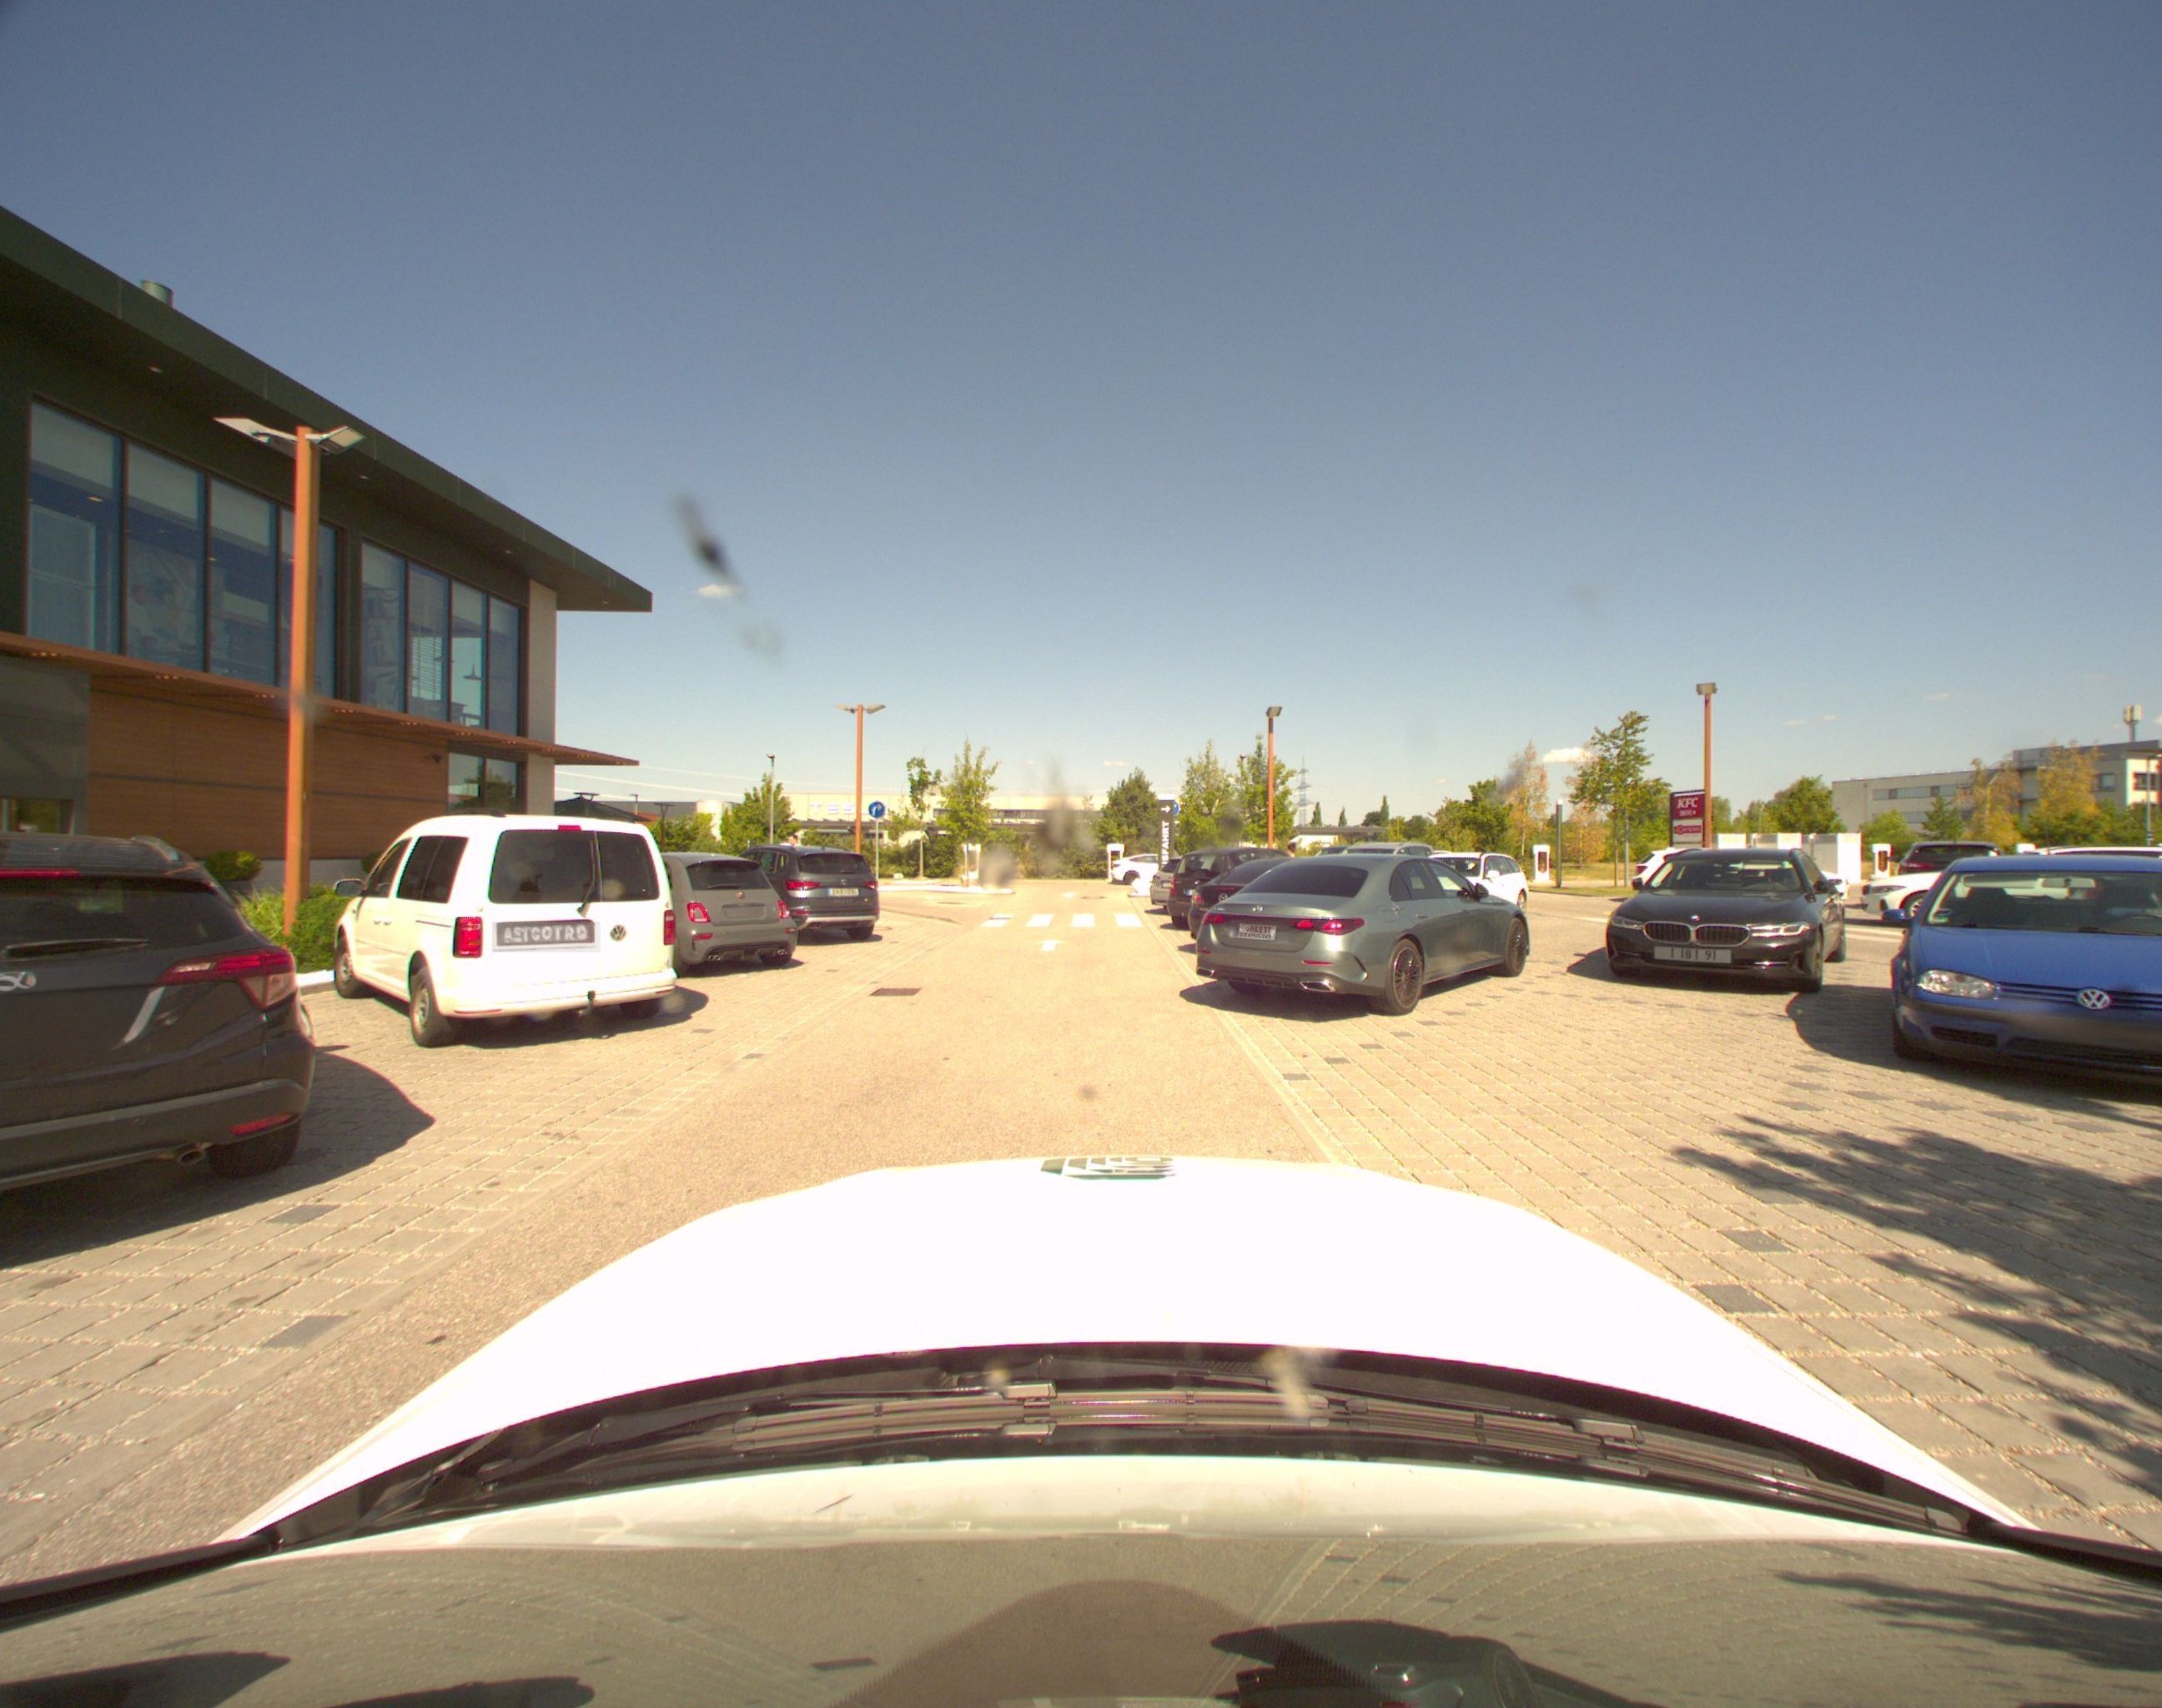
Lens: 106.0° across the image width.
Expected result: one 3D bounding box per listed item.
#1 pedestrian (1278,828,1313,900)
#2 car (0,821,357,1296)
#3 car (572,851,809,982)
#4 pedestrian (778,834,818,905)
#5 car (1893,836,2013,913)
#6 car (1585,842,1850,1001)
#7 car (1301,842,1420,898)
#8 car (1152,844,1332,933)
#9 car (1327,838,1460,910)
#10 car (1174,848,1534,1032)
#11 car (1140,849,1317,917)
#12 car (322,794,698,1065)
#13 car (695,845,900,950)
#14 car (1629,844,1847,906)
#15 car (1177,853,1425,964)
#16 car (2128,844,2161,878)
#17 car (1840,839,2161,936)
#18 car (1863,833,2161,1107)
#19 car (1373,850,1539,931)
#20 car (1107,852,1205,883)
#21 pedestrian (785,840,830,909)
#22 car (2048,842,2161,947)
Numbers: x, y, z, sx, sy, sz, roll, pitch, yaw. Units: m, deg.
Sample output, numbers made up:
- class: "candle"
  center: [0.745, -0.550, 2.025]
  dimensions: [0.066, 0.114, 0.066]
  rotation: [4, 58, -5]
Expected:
- class: "pedestrian"
  center: [5.218, 0.244, 19.806]
  dimensions: [0.566, 1.713, 0.604]
  rotation: [0, 0, -37]
- class: "car"
  center: [-5.304, 0.662, 3.865]
  dimensions: [3.795, 1.632, 1.769]
  rotation: [2, 1, 32]
- class: "car"
  center: [-5.338, 0.715, 11.001]
  dimensions: [3.371, 1.482, 1.578]
  rotation: [0, 0, 38]
- class: "pedestrian"
  center: [-7.227, 0.373, 20.812]
  dimensions: [0.800, 1.768, 0.894]
  rotation: [0, 0, -8]
- class: "car"
  center: [19.930, 0.425, 18.699]
  dimensions: [4.110, 1.576, 1.736]
  rotation: [0, 0, -44]
- class: "car"
  center: [7.951, 0.640, 9.996]
  dimensions: [4.442, 1.511, 1.959]
  rotation: [0, 0, -44]
- class: "car"
  center: [8.590, 0.414, 24.829]
  dimensions: [1.872, 1.536, 4.216]
  rotation: [0, 1, 43]
- class: "car"
  center: [3.398, 0.619, 16.687]
  dimensions: [1.789, 1.593, 4.024]
  rotation: [0, 0, 42]
- class: "car"
  center: [8.040, 0.447, 20.755]
  dimensions: [1.726, 1.640, 4.091]
  rotation: [0, 0, 44]
- class: "car"
  center: [3.206, 0.704, 8.961]
  dimensions: [4.568, 1.511, 1.864]
  rotation: [0, 0, -44]
- class: "car"
  center: [3.755, 0.623, 20.161]
  dimensions: [4.688, 1.447, 1.814]
  rotation: [-1, 1, -42]
- class: "car"
  center: [-5.534, 0.530, 7.716]
  dimensions: [4.092, 1.921, 1.769]
  rotation: [0, 0, 37]
- class: "car"
  center: [-5.162, 0.663, 14.515]
  dimensions: [4.175, 1.603, 1.801]
  rotation: [0, 0, 45]
- class: "car"
  center: [16.455, 0.473, 20.553]
  dimensions: [4.133, 1.425, 1.855]
  rotation: [0, 0, 41]
- class: "car"
  center: [3.539, 0.711, 12.730]
  dimensions: [4.098, 1.449, 1.807]
  rotation: [0, 0, -42]
- class: "car"
  center: [51.753, 0.310, 37.819]
  dimensions: [3.978, 1.568, 1.949]
  rotation: [0, 0, -3]
- class: "car"
  center: [16.105, 0.510, 13.970]
  dimensions: [4.415, 1.471, 1.926]
  rotation: [0, 0, 40]
- class: "car"
  center: [7.424, 0.634, 6.196]
  dimensions: [4.442, 1.511, 1.959]
  rotation: [0, 0, -44]
- class: "car"
  center: [7.726, 0.639, 16.576]
  dimensions: [1.771, 1.408, 4.106]
  rotation: [0, 1, 45]
- class: "car"
  center: [3.450, 0.622, 37.801]
  dimensions: [4.415, 1.377, 1.824]
  rotation: [0, 0, 3]
- class: "pedestrian"
  center: [-6.413, 0.463, 19.144]
  dimensions: [0.722, 1.583, 0.743]
  rotation: [0, 0, 10]
- class: "car"
  center: [15.893, 0.544, 10.701]
  dimensions: [1.831, 1.403, 3.951]
  rotation: [0, 0, -44]
